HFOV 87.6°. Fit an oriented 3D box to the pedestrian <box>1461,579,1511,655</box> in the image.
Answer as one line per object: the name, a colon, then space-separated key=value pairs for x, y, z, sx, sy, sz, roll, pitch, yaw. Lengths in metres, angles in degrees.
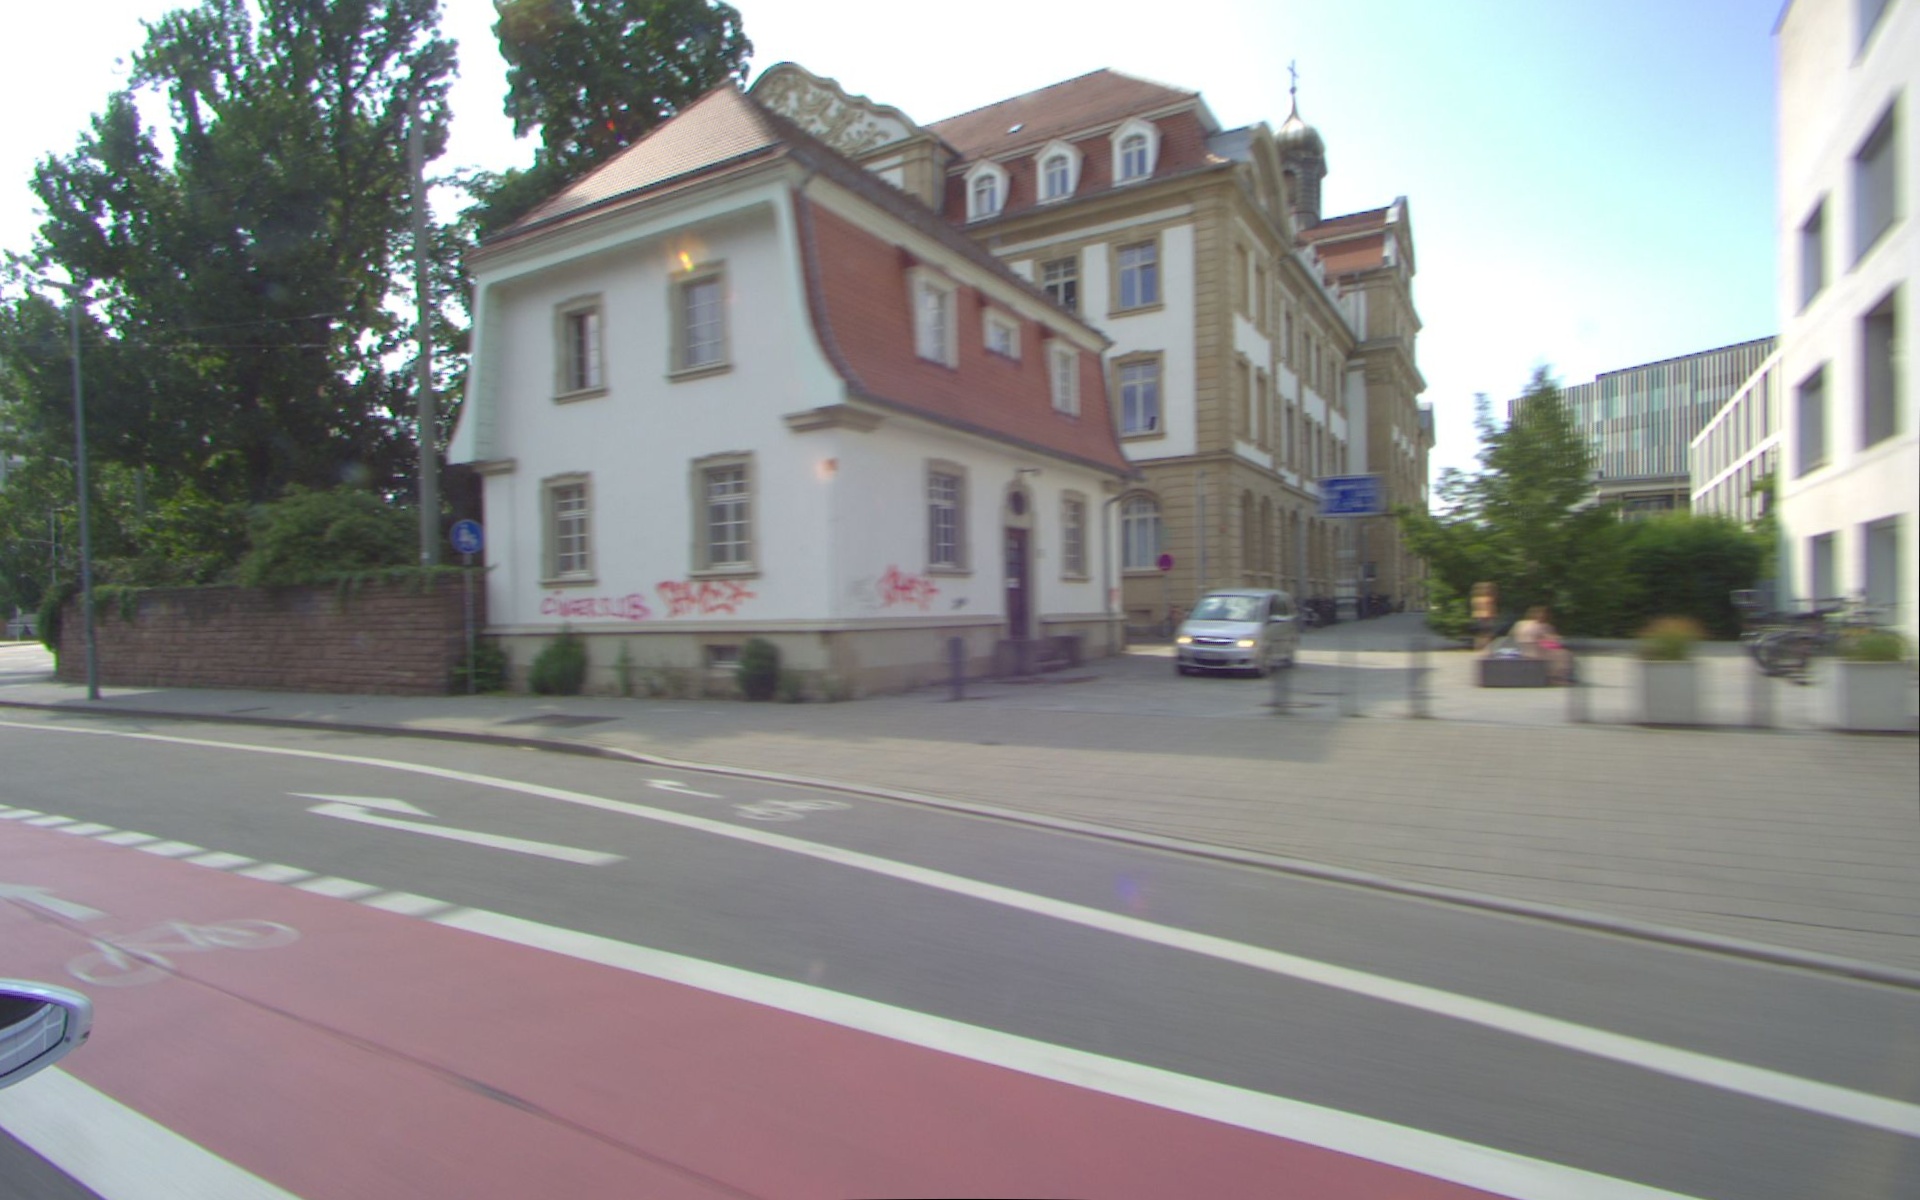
pedestrian: x=8.596 y=0.276 z=16.390 sx=0.519 sy=1.217 sz=0.590 roll=-1 pitch=0 yaw=3

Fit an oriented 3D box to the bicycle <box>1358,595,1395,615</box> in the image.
bicycle: x=22.009 y=0.249 z=52.934 sx=1.791 sy=1.031 sz=0.698 roll=-1 pitch=1 yaw=27

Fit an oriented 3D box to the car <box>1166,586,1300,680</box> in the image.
car: x=5.376 y=0.564 z=19.404 sx=1.639 sy=1.626 sz=3.875 roll=1 pitch=1 yaw=29

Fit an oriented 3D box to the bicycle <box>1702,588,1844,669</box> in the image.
bicycle: x=13.968 y=0.482 z=17.264 sx=1.791 sy=1.346 sz=0.698 roll=-1 pitch=1 yaw=27

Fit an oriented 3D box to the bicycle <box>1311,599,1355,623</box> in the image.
bicycle: x=16.579 y=0.502 z=44.520 sx=1.791 sy=1.031 sz=0.698 roll=-1 pitch=1 yaw=27

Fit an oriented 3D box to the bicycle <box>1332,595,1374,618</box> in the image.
bicycle: x=18.280 y=0.309 z=46.571 sx=1.791 sy=1.031 sz=0.698 roll=-1 pitch=1 yaw=27

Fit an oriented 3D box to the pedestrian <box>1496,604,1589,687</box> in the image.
pedestrian: x=8.958 y=0.683 z=15.407 sx=0.896 sy=1.217 sz=0.871 roll=-1 pitch=0 yaw=-24

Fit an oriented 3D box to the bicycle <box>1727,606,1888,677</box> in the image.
bicycle: x=13.083 y=0.633 z=15.530 sx=1.791 sy=1.031 sz=0.698 roll=-1 pitch=1 yaw=27

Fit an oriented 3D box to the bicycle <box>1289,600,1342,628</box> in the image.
bicycle: x=13.343 y=0.528 z=37.545 sx=1.791 sy=1.031 sz=0.698 roll=-1 pitch=1 yaw=27

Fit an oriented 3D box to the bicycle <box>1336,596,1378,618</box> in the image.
bicycle: x=18.746 y=0.332 z=47.321 sx=1.791 sy=1.031 sz=0.698 roll=-1 pitch=1 yaw=27

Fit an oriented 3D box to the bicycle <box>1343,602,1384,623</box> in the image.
bicycle: x=19.798 y=0.619 z=49.156 sx=1.791 sy=1.031 sz=0.698 roll=-1 pitch=1 yaw=27

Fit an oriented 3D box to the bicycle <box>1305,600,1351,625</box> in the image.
bicycle: x=16.013 y=0.555 z=43.576 sx=1.791 sy=1.031 sz=0.698 roll=-1 pitch=1 yaw=27

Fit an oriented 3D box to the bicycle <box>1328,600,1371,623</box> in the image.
bicycle: x=17.766 y=0.533 z=45.683 sx=1.791 sy=1.031 sz=0.698 roll=-1 pitch=1 yaw=27

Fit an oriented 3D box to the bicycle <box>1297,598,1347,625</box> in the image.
bicycle: x=14.504 y=0.468 z=40.149 sx=1.791 sy=1.031 sz=0.698 roll=-1 pitch=1 yaw=27

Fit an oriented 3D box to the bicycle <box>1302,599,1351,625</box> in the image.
bicycle: x=15.040 y=0.491 z=41.104 sx=1.791 sy=1.031 sz=0.698 roll=-1 pitch=1 yaw=27

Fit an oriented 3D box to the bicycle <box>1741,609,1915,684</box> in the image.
bicycle: x=12.602 y=0.664 z=14.618 sx=1.791 sy=1.031 sz=0.698 roll=-1 pitch=1 yaw=27

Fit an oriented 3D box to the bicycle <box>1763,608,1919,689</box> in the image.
bicycle: x=12.000 y=0.635 z=13.433 sx=1.791 sy=1.031 sz=0.698 roll=-1 pitch=1 yaw=27

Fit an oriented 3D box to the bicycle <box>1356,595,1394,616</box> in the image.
bicycle: x=21.341 y=0.294 z=51.512 sx=1.791 sy=1.031 sz=0.698 roll=-1 pitch=1 yaw=27

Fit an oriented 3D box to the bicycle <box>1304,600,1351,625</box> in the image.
bicycle: x=15.658 y=0.531 z=42.635 sx=1.791 sy=1.031 sz=0.698 roll=-1 pitch=1 yaw=27

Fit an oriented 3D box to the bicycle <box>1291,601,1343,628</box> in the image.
bicycle: x=13.652 y=0.558 z=38.322 sx=1.791 sy=1.031 sz=0.698 roll=-1 pitch=1 yaw=27
